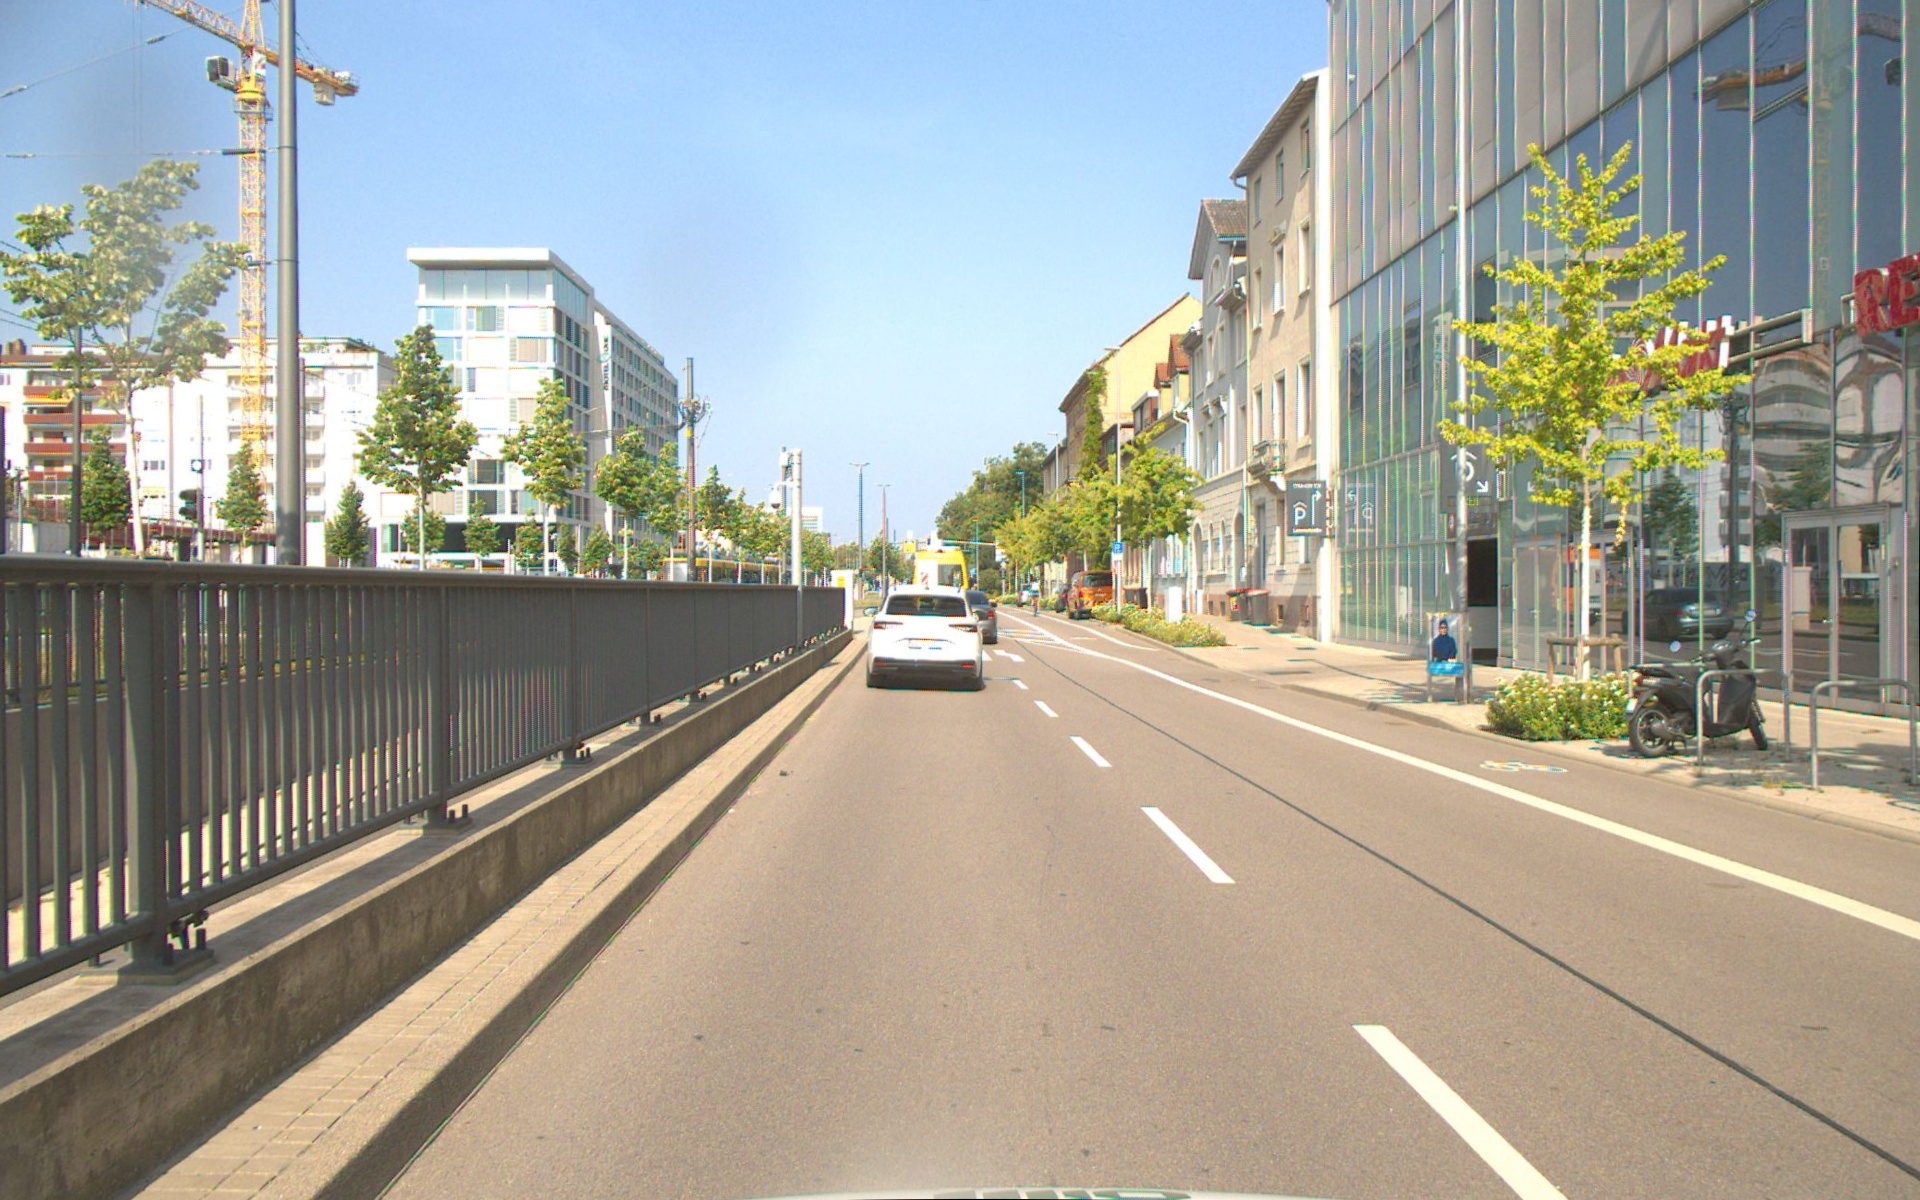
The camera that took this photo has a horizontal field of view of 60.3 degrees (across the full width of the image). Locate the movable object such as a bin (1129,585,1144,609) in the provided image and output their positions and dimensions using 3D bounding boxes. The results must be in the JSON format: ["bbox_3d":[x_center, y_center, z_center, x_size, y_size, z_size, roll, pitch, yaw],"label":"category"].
[{"bbox_3d":[8.894,-0.156,83.284,0.665,1.221,0.781,0,1,-2],"label":"movable object such as a bin"}]

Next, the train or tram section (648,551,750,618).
[{"bbox_3d":[-16.170,-0.918,104.166,2.846,3.740,18.141,1,0,2],"label":"train or tram section"}]

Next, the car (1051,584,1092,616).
[{"bbox_3d":[5.607,-0.002,83.692,1.640,1.509,4.311,-2,0,-1],"label":"car"}]

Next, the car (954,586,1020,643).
[{"bbox_3d":[0.719,0.370,46.311,1.724,1.461,4.115,2,1,-1],"label":"car"}]

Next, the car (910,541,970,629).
[{"bbox_3d":[-0.695,-0.594,57.644,1.979,2.844,5.401,0,3,-1],"label":"car"}]

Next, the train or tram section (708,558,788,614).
[{"bbox_3d":[-15.476,-0.976,122.393,2.846,3.771,18.295,1,0,2],"label":"train or tram section"}]

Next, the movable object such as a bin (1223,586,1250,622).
[{"bbox_3d":[9.381,0.123,56.085,0.666,1.172,0.607,-2,3,-45],"label":"movable object such as a bin"}]

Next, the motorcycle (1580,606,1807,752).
[{"bbox_3d":[7.285,0.762,16.457,1.934,1.373,0.865,0,0,-12],"label":"motorcycle"}]

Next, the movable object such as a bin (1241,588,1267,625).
[{"bbox_3d":[9.531,0.196,53.637,0.690,1.172,0.671,0,2,-2],"label":"movable object such as a bin"}]

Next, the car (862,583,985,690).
[{"bbox_3d":[-0.572,0.524,26.746,1.832,1.602,4.000,0,1,-1],"label":"car"}]

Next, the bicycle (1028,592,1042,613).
[{"bbox_3d":[3.443,0.111,76.093,0.642,0.955,1.517,0,1,1],"label":"bicycle"}]

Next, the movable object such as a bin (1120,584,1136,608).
[{"bbox_3d":[8.743,-0.206,86.312,0.725,1.221,0.773,0,1,-2],"label":"movable object such as a bin"}]

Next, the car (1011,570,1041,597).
[{"bbox_3d":[4.539,-1.131,113.966,1.776,1.844,3.835,0,1,-1],"label":"car"}]

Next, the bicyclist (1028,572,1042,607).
[{"bbox_3d":[3.440,-0.490,76.118,0.626,1.604,0.771,0,0,1],"label":"bicyclist"}]

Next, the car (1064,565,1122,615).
[{"bbox_3d":[5.645,-0.472,70.505,2.021,2.048,4.587,0,1,-1],"label":"car"}]

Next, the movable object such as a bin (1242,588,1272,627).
[{"bbox_3d":[9.449,0.230,52.665,0.765,1.192,0.808,0,2,-2],"label":"movable object such as a bin"}]
